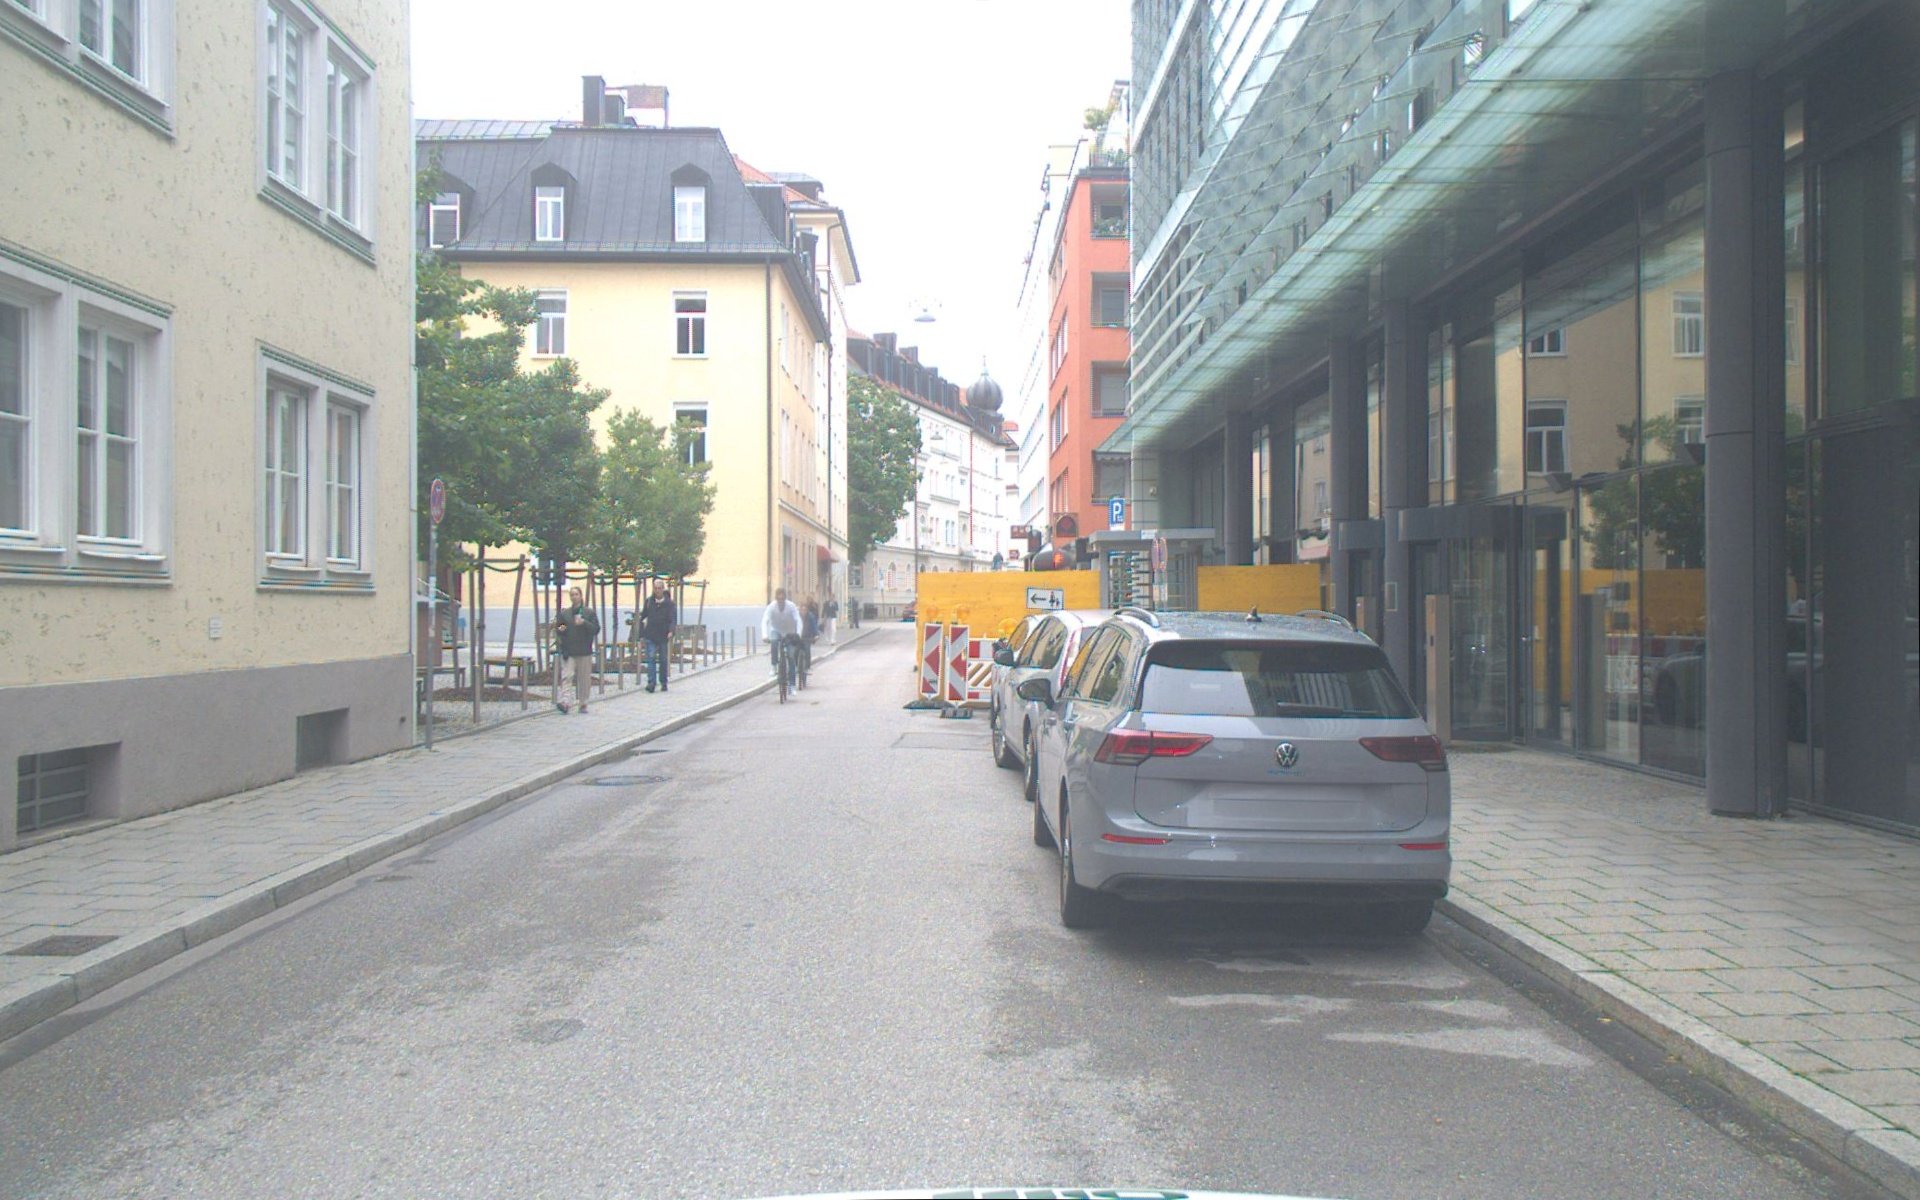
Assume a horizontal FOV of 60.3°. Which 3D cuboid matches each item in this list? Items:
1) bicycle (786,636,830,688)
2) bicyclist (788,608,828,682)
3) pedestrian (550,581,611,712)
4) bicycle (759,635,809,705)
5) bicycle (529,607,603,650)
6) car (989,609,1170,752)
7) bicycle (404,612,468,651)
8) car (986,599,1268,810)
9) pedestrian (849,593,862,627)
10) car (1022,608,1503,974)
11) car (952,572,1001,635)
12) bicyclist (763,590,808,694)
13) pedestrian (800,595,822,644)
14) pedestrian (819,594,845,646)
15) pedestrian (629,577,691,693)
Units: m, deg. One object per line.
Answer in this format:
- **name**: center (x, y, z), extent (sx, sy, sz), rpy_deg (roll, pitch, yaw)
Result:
- **bicycle**: center (-2.928, 1.187, 31.952), extent (0.693, 0.921, 1.809), rpy_deg (-1, 0, -1)
- **bicyclist**: center (-2.921, 0.853, 31.899), extent (0.693, 1.395, 0.813), rpy_deg (-1, 0, -1)
- **pedestrian**: center (-5.028, 0.607, 21.951), extent (0.634, 1.706, 0.723), rpy_deg (1, -1, -2)
- **bicycle**: center (-2.892, 1.133, 27.305), extent (0.648, 1.057, 2.004), rpy_deg (-1, 0, -1)
- **bicycle**: center (-11.444, 0.830, 48.043), extent (2.000, 1.218, 0.570), rpy_deg (0, 0, 6)
- **car**: center (1.273, 0.846, 19.261), extent (1.673, 1.439, 4.508), rpy_deg (1, -1, -1)
- **bicycle**: center (-15.112, 0.900, 47.699), extent (1.621, 1.088, 0.598), rpy_deg (1, 0, 3)
- **car**: center (1.247, 0.776, 14.101), extent (1.674, 1.493, 4.233), rpy_deg (1, -1, -4)
- **pedestrian**: center (-5.296, 0.507, 83.961), extent (0.621, 1.704, 0.517), rpy_deg (0, 0, -1)
- **car**: center (1.299, 0.776, 8.808), extent (1.673, 1.457, 4.328), rpy_deg (0, 0, -1)
- **car**: center (0.682, 0.147, 71.380), extent (1.953, 2.581, 4.973), rpy_deg (0, 0, -2)
- **bicyclist**: center (-2.889, 0.685, 27.378), extent (0.646, 1.672, 0.895), rpy_deg (-1, 0, -1)
- **pedestrian**: center (-5.072, 0.665, 56.327), extent (0.656, 1.677, 0.761), rpy_deg (1, -1, -2)
- **pedestrian**: center (-4.335, 0.668, 55.946), extent (0.822, 1.730, 0.803), rpy_deg (1, -1, -1)
- **pedestrian**: center (-5.079, 0.585, 28.051), extent (0.850, 1.914, 1.134), rpy_deg (1, -1, -2)
